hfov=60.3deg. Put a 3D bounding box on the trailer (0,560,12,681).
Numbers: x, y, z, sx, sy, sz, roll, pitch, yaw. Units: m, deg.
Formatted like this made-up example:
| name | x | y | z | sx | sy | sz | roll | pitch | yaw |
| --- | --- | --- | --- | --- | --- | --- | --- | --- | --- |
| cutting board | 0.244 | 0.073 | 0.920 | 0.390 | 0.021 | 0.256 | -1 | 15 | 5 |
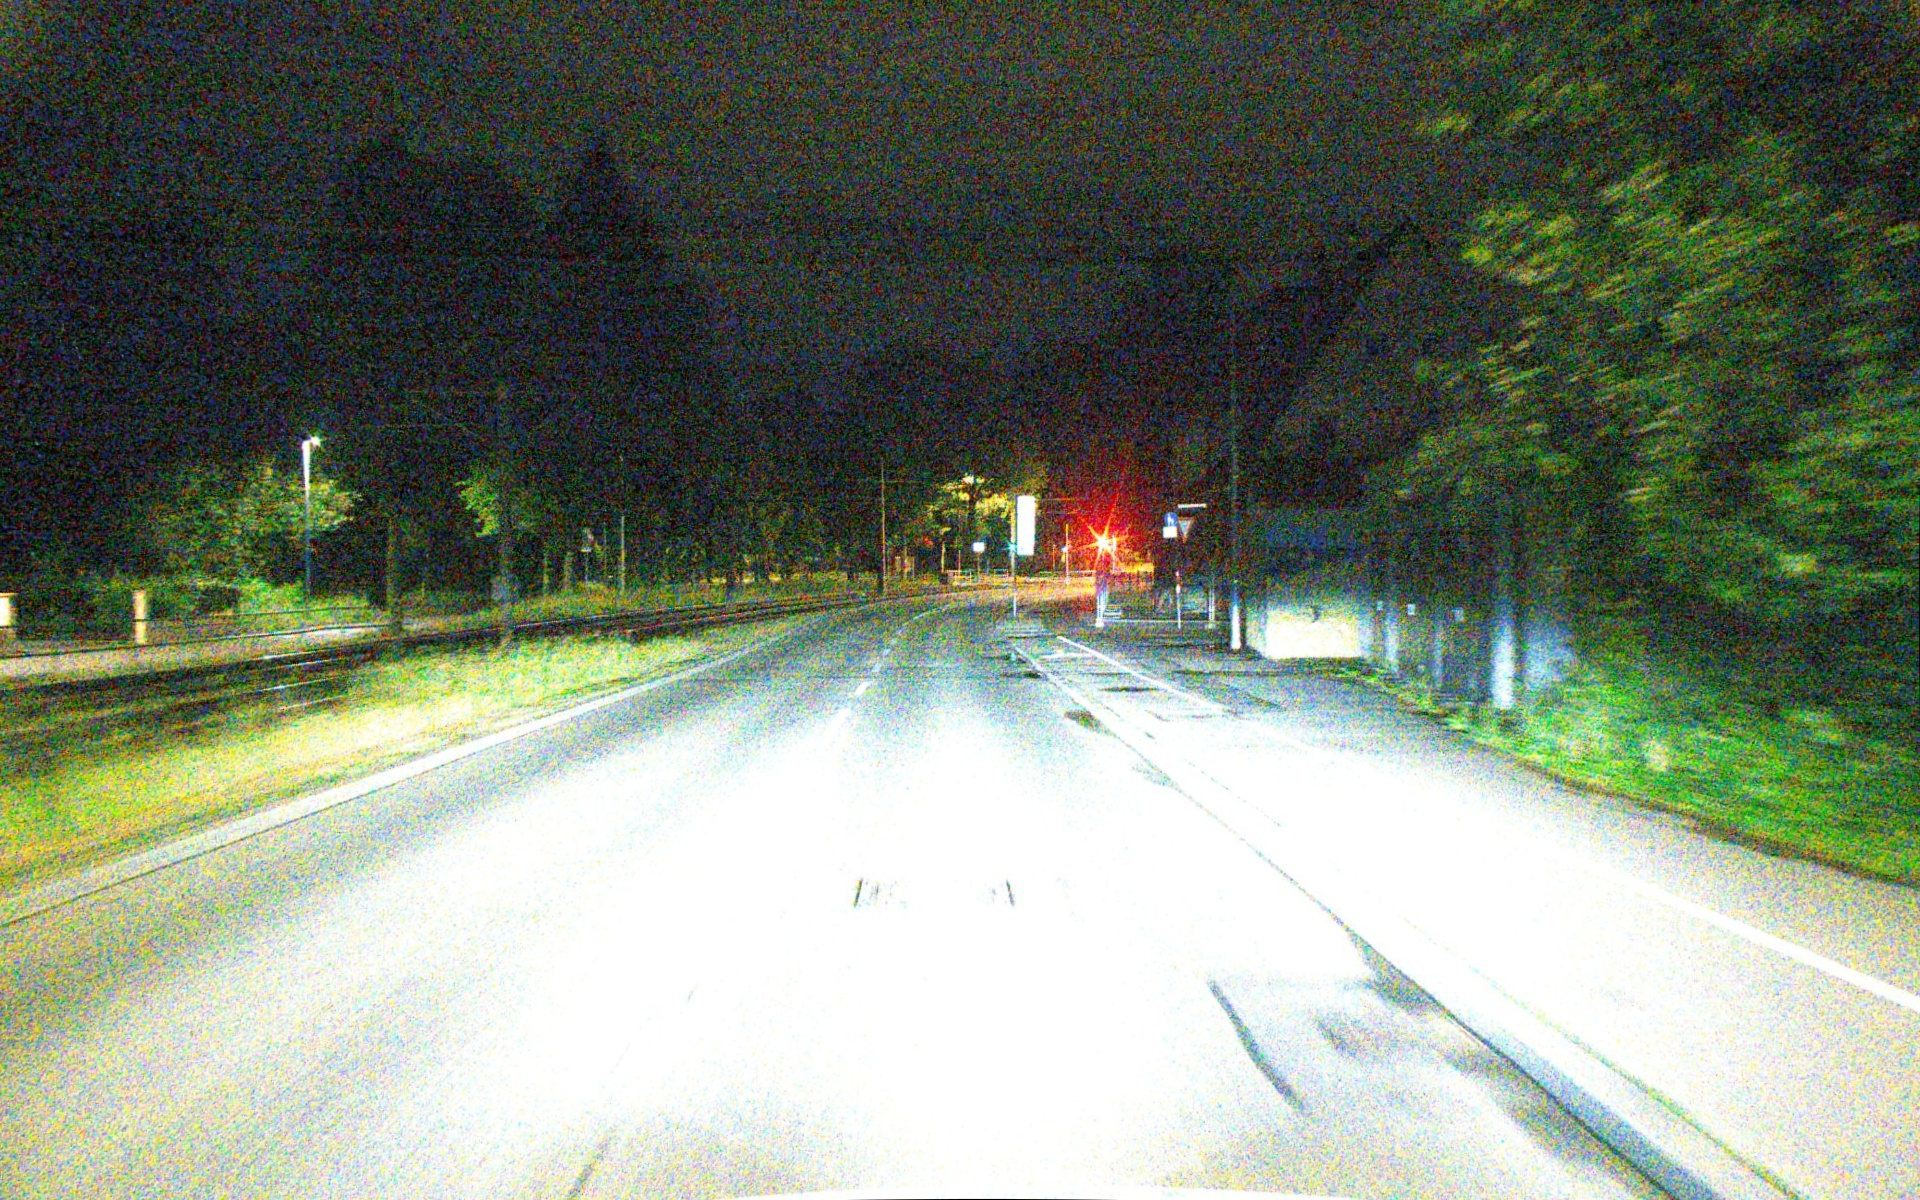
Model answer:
| name | x | y | z | sx | sy | sz | roll | pitch | yaw |
| --- | --- | --- | --- | --- | --- | --- | --- | --- | --- |
| trailer | -15.362 | 0.367 | 22.148 | 1.983 | 1.812 | 5.674 | -2 | 0 | 0 |
